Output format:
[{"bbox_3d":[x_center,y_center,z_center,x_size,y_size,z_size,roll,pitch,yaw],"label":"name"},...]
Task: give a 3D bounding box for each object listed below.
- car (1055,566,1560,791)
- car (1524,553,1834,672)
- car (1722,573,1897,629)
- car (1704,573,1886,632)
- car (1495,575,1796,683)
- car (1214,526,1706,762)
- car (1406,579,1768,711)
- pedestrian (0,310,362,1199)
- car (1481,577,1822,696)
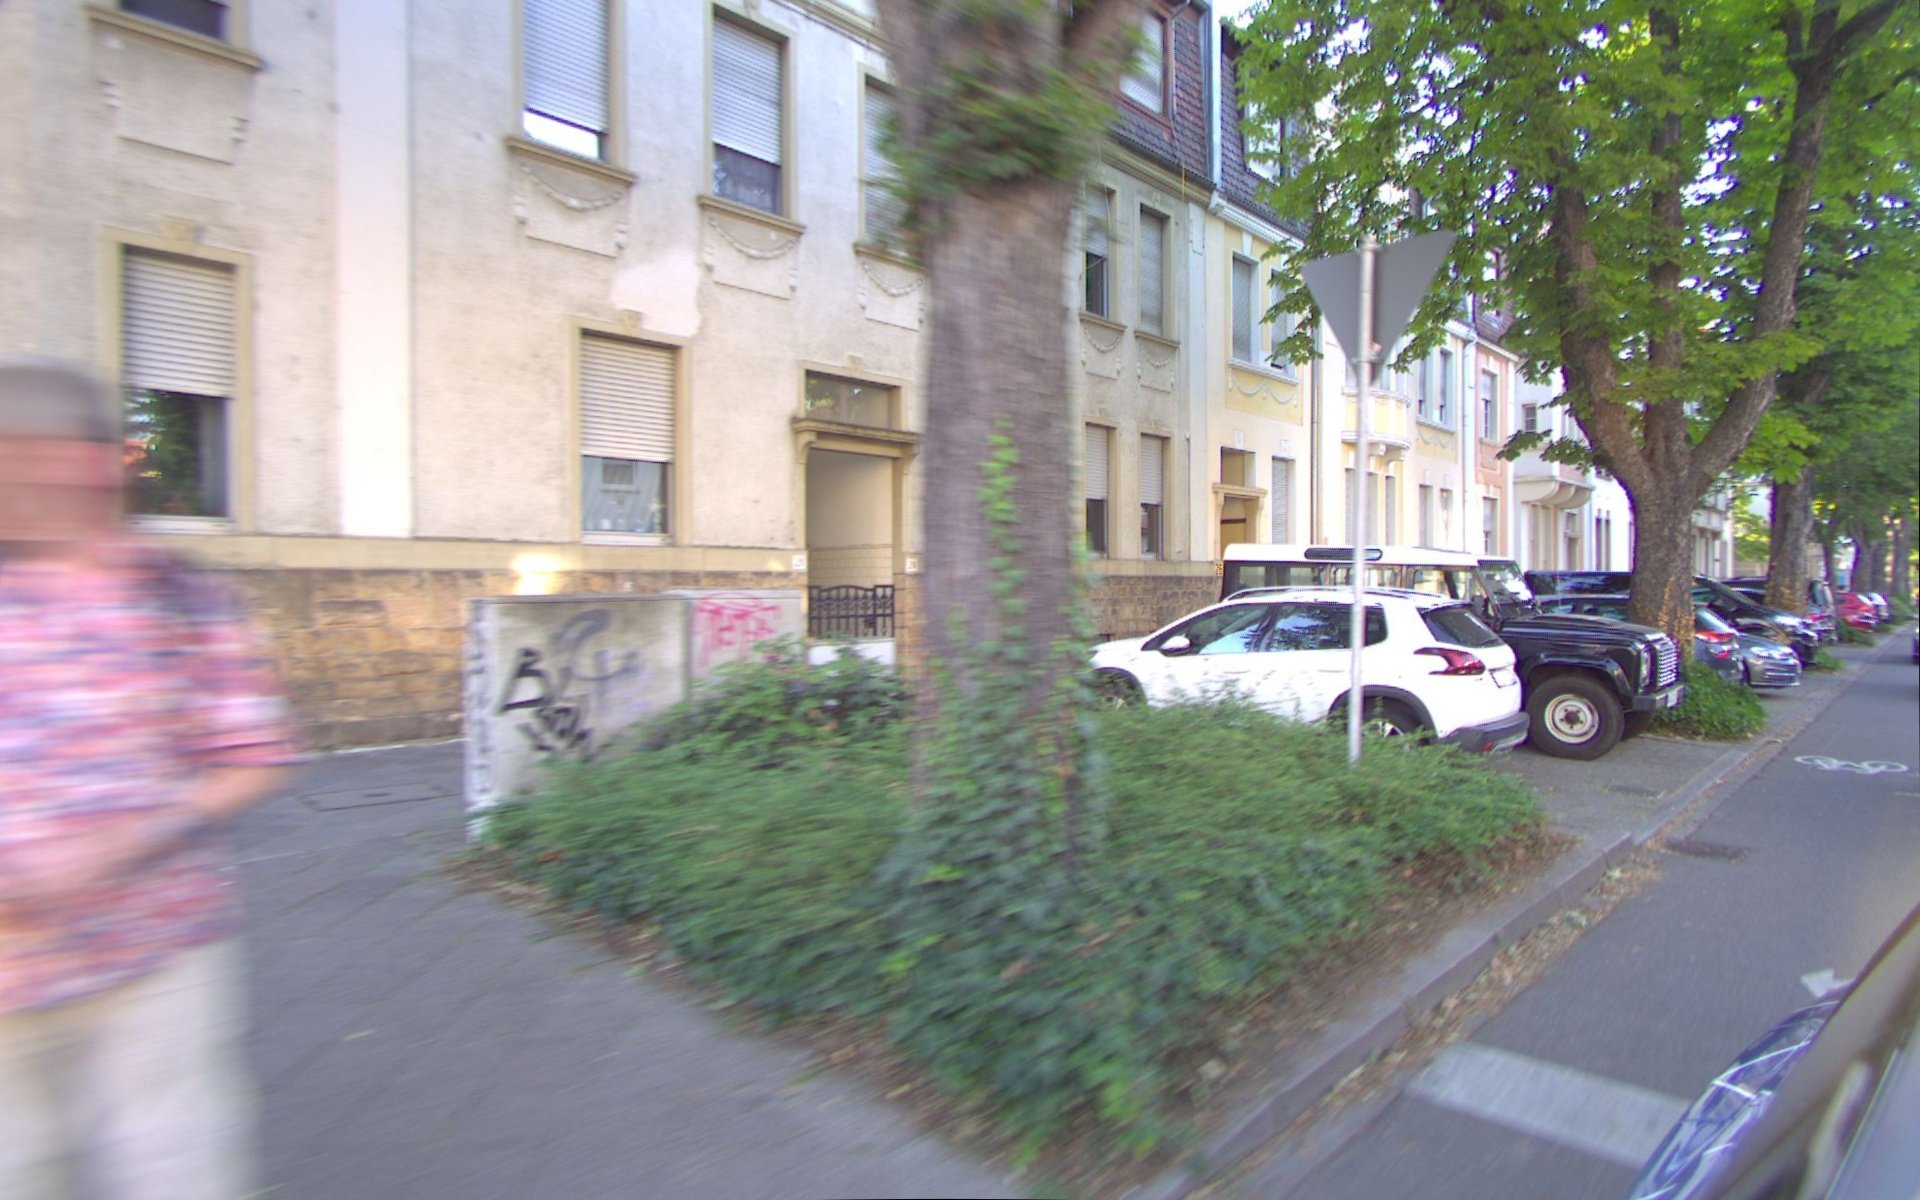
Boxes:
[{"bbox_3d":[2.957,0.523,9.198,4.035,1.595,1.658,1,1,44],"label":"car"},{"bbox_3d":[13.867,0.225,19.718,4.696,2.039,1.969,-1,0,44],"label":"car"},{"bbox_3d":[30.594,0.043,36.541,4.696,1.897,1.969,-1,0,44],"label":"car"},{"bbox_3d":[28.639,0.088,34.808,4.696,1.897,1.969,-1,0,44],"label":"car"},{"bbox_3d":[12.162,0.467,18.112,4.196,1.709,1.969,-1,0,44],"label":"car"},{"bbox_3d":[5.144,0.297,10.859,1.732,2.008,4.423,-4,4,-44],"label":"car"},{"bbox_3d":[9.044,0.570,14.810,4.196,1.649,1.942,-1,0,44],"label":"car"},{"bbox_3d":[-1.418,0.532,1.653,0.654,1.829,0.701,-1,0,-40],"label":"pedestrian"},{"bbox_3d":[10.853,0.515,16.065,4.196,1.627,1.969,-1,0,44],"label":"car"}]
